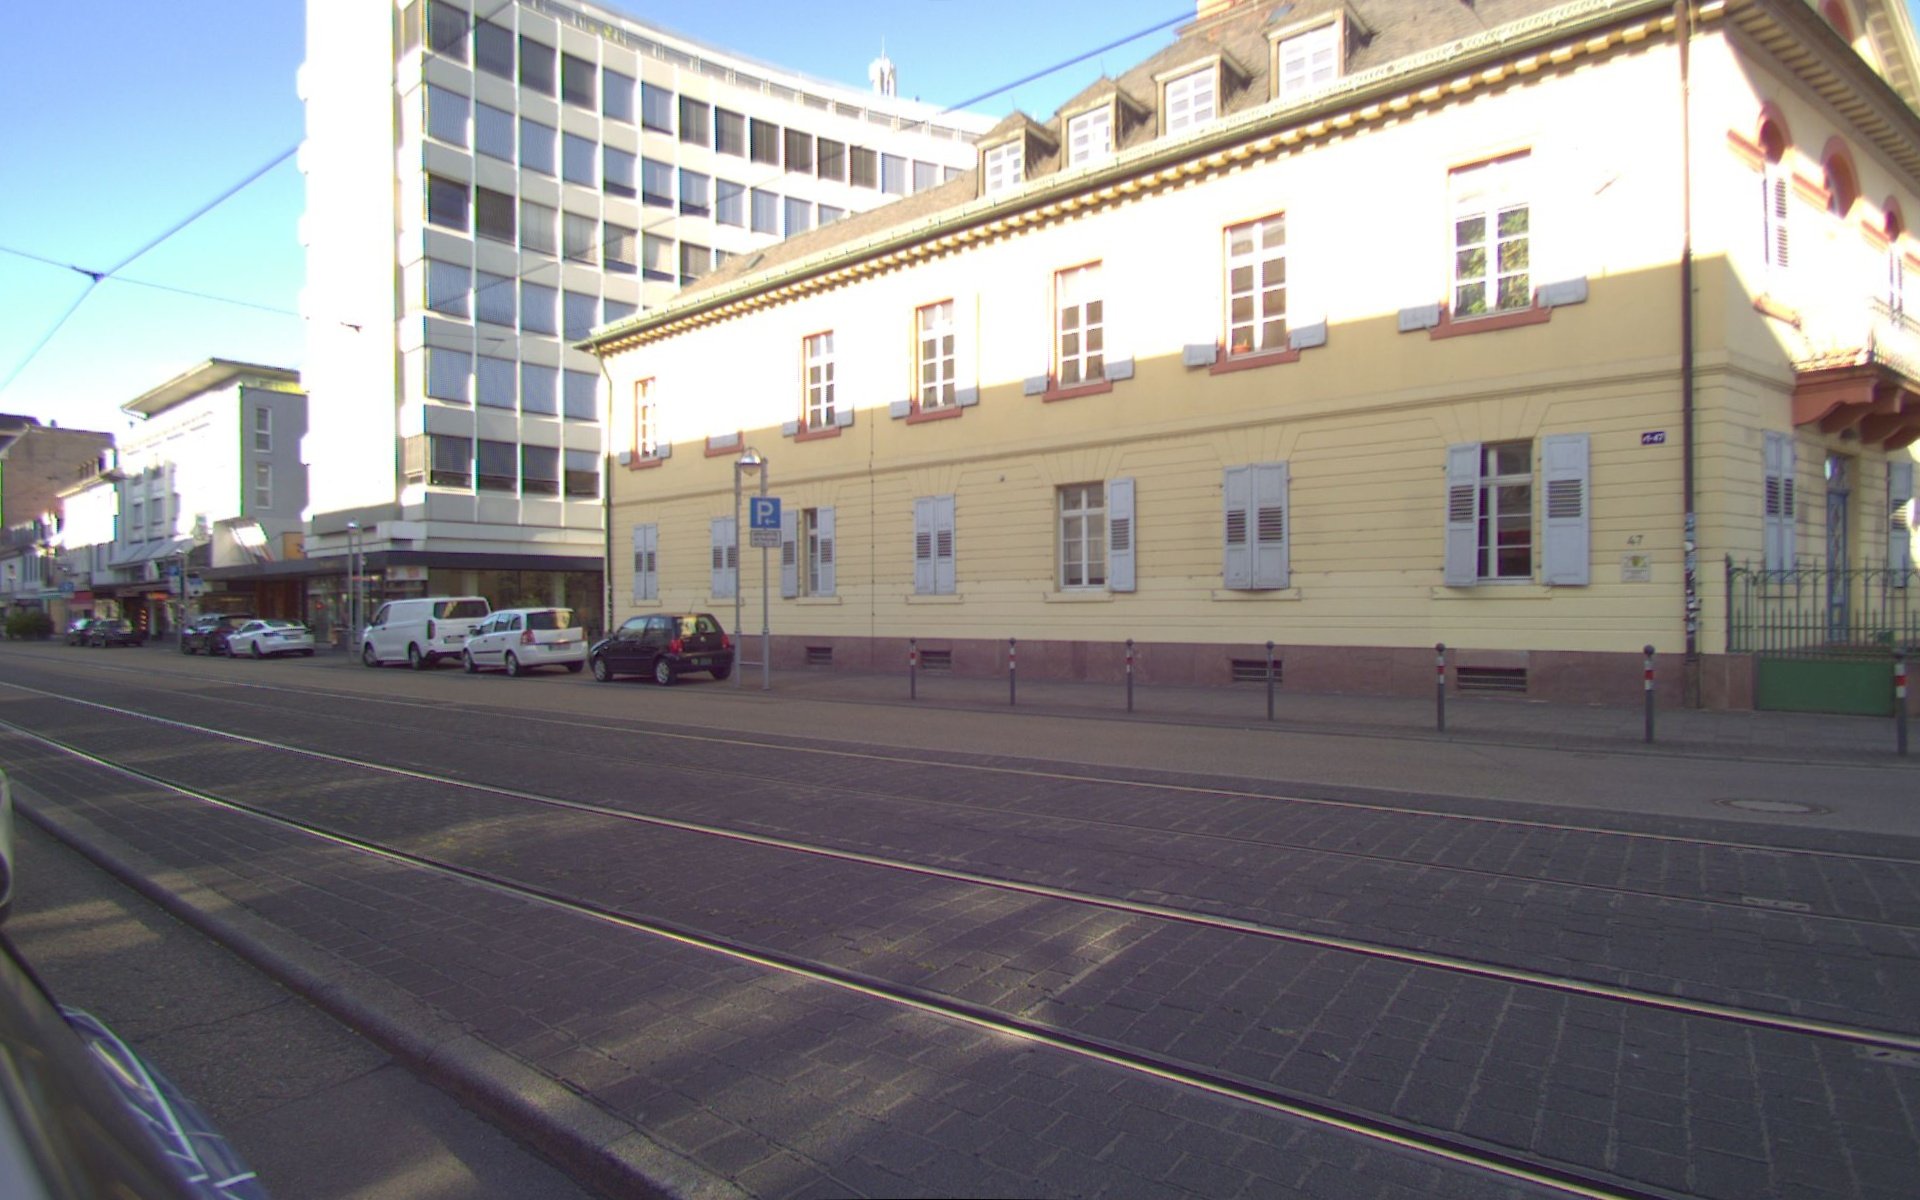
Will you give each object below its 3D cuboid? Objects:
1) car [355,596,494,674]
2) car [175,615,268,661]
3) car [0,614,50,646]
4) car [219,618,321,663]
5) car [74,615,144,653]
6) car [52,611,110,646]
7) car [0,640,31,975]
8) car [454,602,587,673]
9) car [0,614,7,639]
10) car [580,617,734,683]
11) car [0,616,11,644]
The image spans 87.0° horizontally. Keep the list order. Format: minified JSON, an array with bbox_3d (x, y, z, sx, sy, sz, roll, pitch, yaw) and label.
[{"bbox_3d":[-15.361,0.970,28.950,4.619,2.029,2.014,-1,-1,41],"label":"car"},{"bbox_3d":[-29.917,1.491,40.965,4.103,1.717,1.975,-1,0,38],"label":"car"},{"bbox_3d":[-62.991,1.986,68.020,3.996,2.058,2.172,-1,-1,39],"label":"car"},{"bbox_3d":[-25.652,1.445,37.603,4.369,1.541,1.974,-1,0,39],"label":"car"},{"bbox_3d":[-43.809,1.706,52.092,3.995,1.874,1.974,-1,0,38],"label":"car"},{"bbox_3d":[-50.194,1.604,57.755,3.994,1.896,1.768,-1,-1,38],"label":"car"},{"bbox_3d":[-6.128,0.903,4.759,3.992,1.393,1.862,-1,0,36],"label":"car"},{"bbox_3d":[-11.051,0.892,25.329,4.005,1.621,1.619,-1,0,43],"label":"car"},{"bbox_3d":[-78.765,2.142,81.823,3.995,2.029,1.974,-1,0,38],"label":"car"},{"bbox_3d":[-6.540,1.018,21.766,3.210,1.263,1.667,-1,0,39],"label":"car"},{"bbox_3d":[-71.291,2.244,74.322,3.998,2.029,1.973,-1,-1,41],"label":"car"}]
